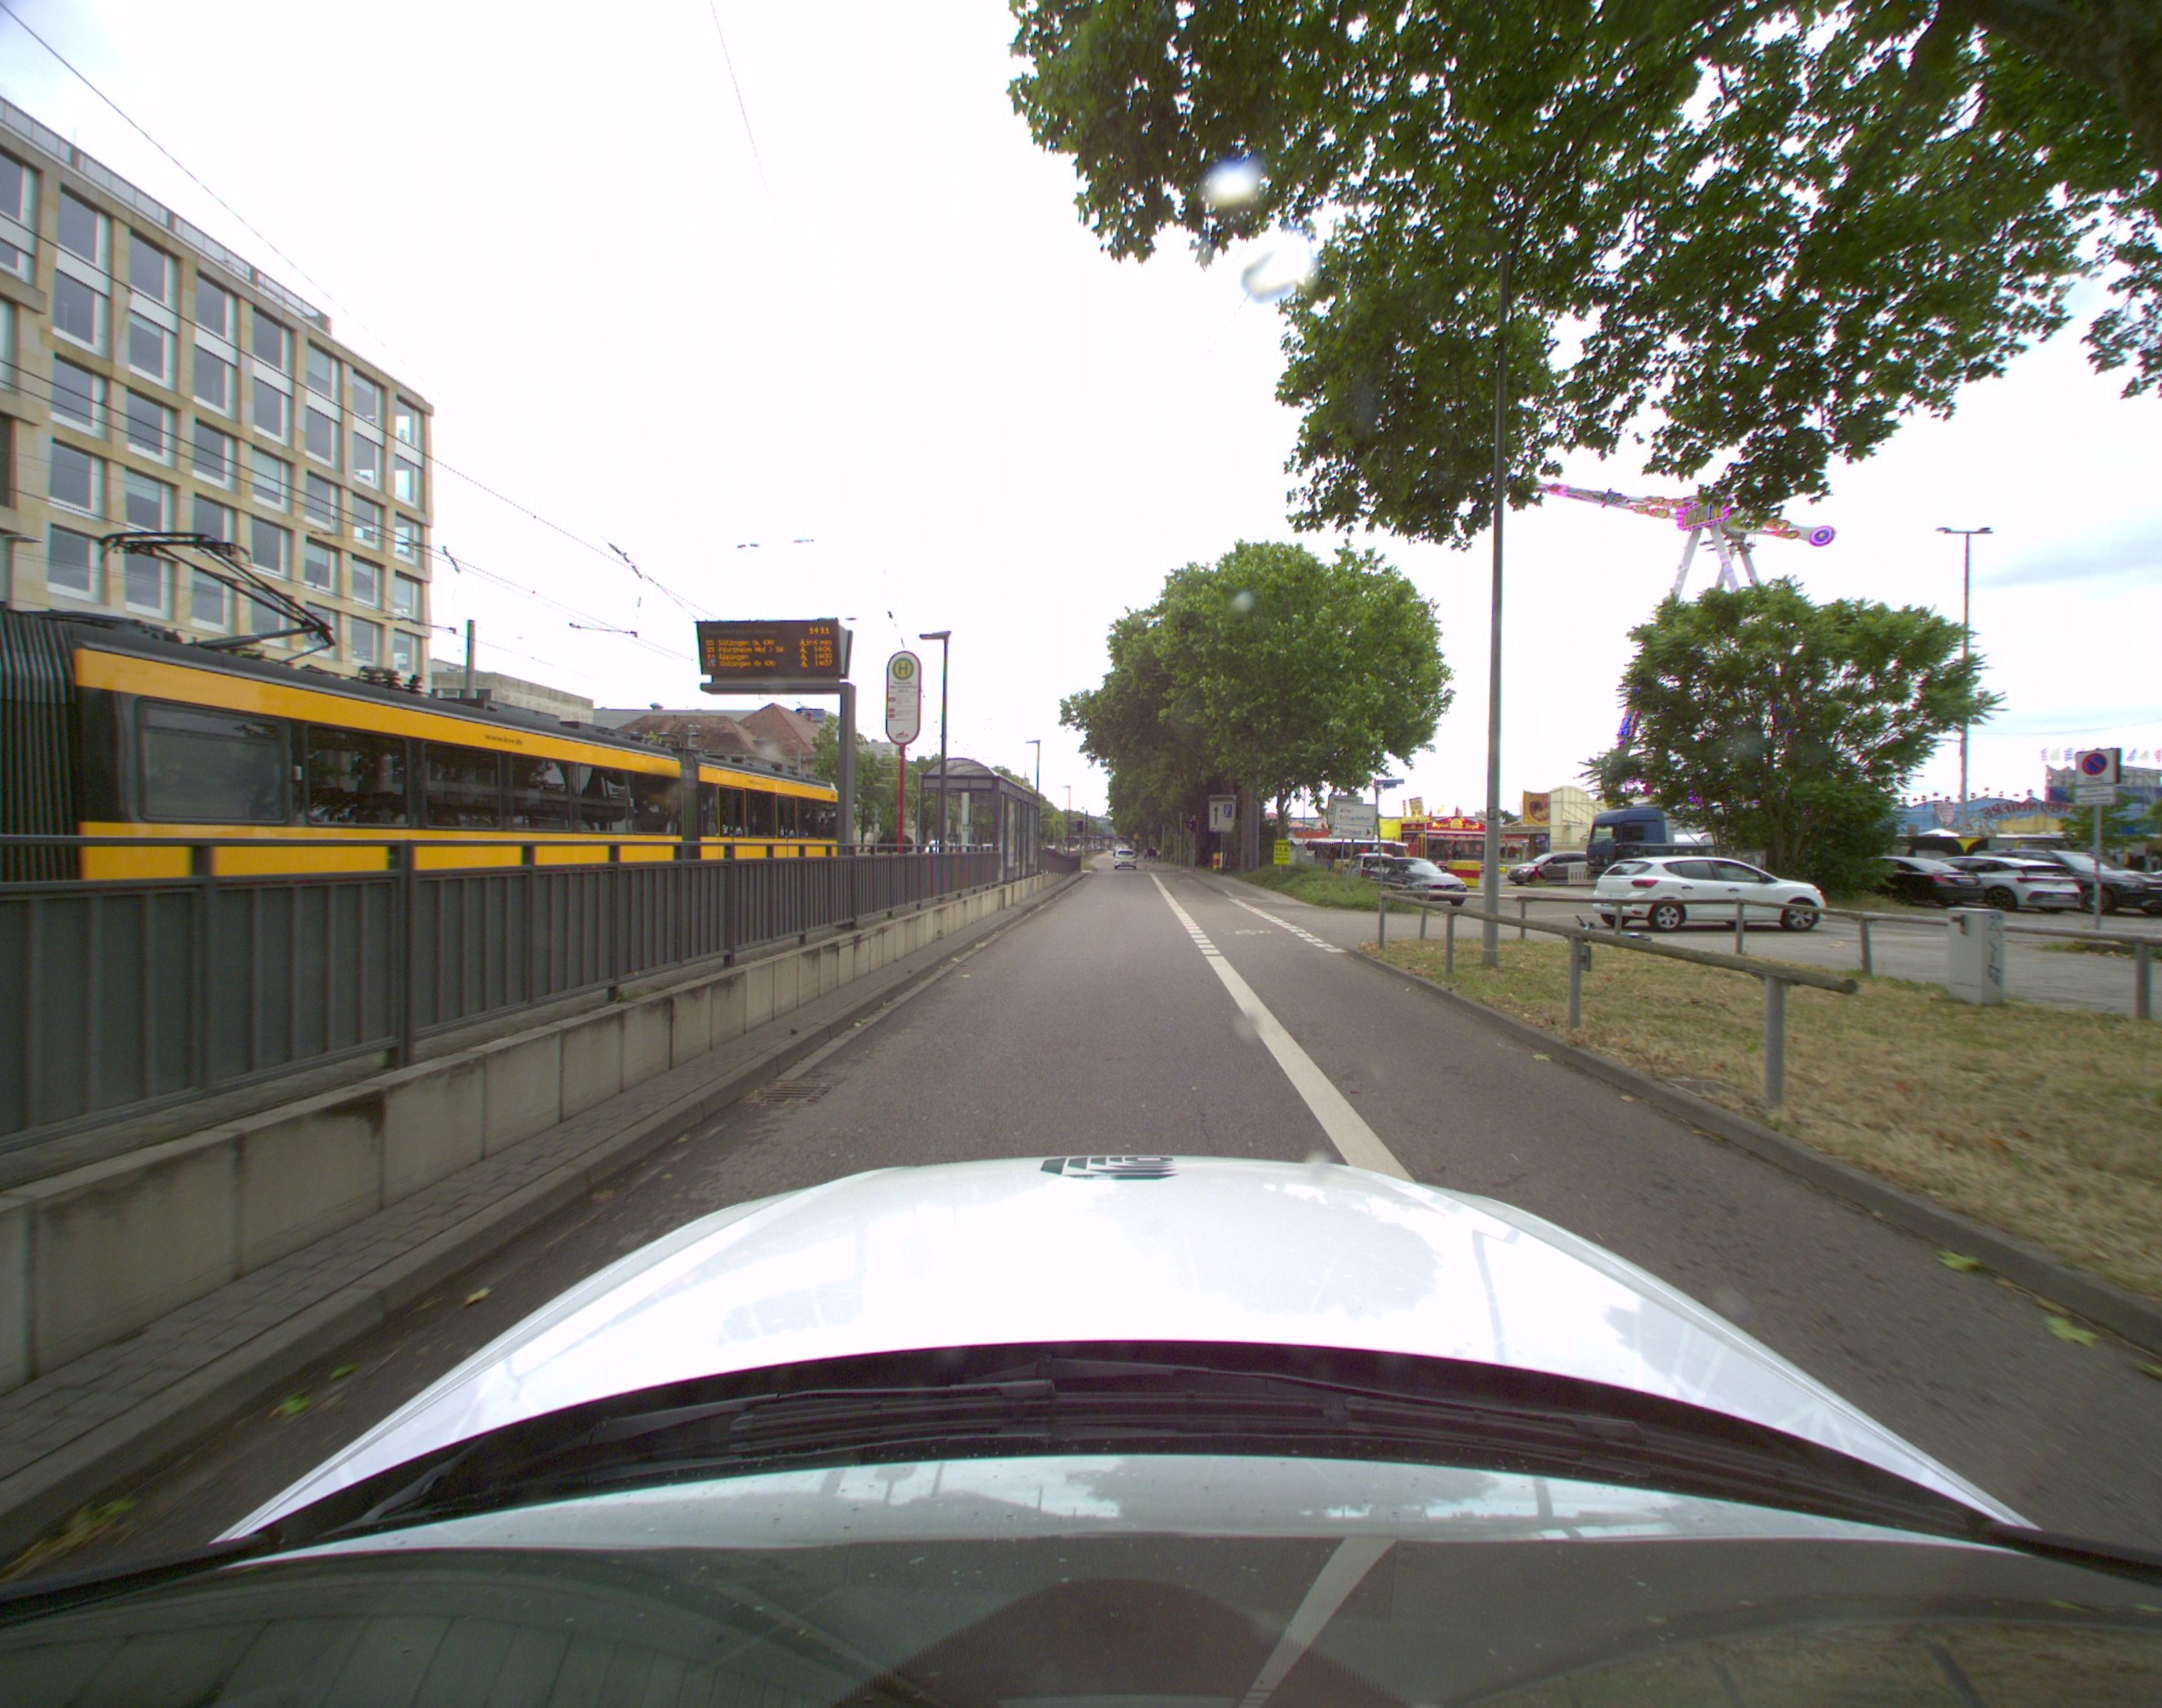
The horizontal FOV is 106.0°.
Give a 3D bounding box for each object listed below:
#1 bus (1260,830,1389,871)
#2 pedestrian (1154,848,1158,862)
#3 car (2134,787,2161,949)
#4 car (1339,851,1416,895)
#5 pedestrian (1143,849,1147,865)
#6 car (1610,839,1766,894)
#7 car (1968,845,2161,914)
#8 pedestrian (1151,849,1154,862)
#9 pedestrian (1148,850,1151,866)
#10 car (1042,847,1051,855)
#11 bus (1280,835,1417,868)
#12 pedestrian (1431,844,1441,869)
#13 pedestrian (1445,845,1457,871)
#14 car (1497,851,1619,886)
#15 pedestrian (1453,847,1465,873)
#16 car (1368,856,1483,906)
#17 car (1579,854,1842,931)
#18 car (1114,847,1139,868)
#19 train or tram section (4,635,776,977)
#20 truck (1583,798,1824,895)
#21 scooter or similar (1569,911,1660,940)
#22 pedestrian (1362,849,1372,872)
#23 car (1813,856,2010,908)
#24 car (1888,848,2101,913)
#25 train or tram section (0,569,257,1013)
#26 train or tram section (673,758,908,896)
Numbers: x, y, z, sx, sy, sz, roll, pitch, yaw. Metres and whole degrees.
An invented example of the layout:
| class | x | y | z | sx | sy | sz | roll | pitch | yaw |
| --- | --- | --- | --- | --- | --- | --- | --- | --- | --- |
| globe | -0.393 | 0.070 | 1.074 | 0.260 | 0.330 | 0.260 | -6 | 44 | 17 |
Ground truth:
| class | x | y | z | sx | sy | sz | roll | pitch | yaw |
| --- | --- | --- | --- | --- | --- | --- | --- | --- | --- |
| bus | 18.481 | -0.270 | 62.158 | 9.246 | 2.960 | 2.000 | 1 | 0 | 0 |
| pedestrian | 8.573 | 0.088 | 92.718 | 0.393 | 1.585 | 0.539 | 1 | 0 | 8 |
| car | 20.058 | 0.249 | 12.133 | 6.001 | 2.555 | 2.100 | 1 | 0 | 1 |
| car | 11.508 | 0.711 | 31.894 | 1.854 | 1.594 | 4.006 | 1 | 0 | 5 |
| pedestrian | 8.092 | 0.423 | 103.357 | 0.392 | 2.014 | 0.404 | 0 | 0 | 18 |
| car | 23.316 | 0.438 | 31.429 | 4.557 | 2.013 | 2.001 | 0 | 1 | 1 |
| car | 29.606 | 0.687 | 24.339 | 1.878 | 1.879 | 4.002 | 1 | 1 | 1 |
| pedestrian | 8.137 | 0.130 | 92.736 | 0.393 | 1.444 | 0.564 | 1 | 0 | 8 |
| pedestrian | 8.687 | 0.453 | 103.264 | 0.392 | 2.014 | 0.404 | 0 | 0 | 18 |
| car | -8.051 | -0.702 | 192.640 | 1.987 | 1.794 | 3.999 | 1 | 0 | -1 |
| bus | 19.272 | -0.192 | 58.959 | 9.246 | 2.227 | 2.000 | 1 | 0 | 0 |
| pedestrian | 25.070 | 0.177 | 57.556 | 0.491 | 1.687 | 0.523 | 1 | 0 | 0 |
| pedestrian | 24.584 | 0.276 | 54.140 | 0.522 | 1.687 | 0.492 | 1 | 0 | -14 |
| car | 22.345 | 0.676 | 38.260 | 4.556 | 1.575 | 2.001 | 1 | 0 | 1 |
| pedestrian | 25.391 | 0.396 | 54.733 | 0.522 | 1.687 | 0.492 | 1 | 0 | -14 |
| car | 10.695 | 0.783 | 25.599 | 1.858 | 1.430 | 3.998 | 1 | 0 | -1 |
| car | 12.797 | 0.750 | 16.751 | 3.973 | 1.453 | 1.892 | 1 | 0 | 1 |
| car | 3.429 | 0.252 | 60.997 | 1.832 | 1.552 | 4.005 | 0 | 0 | 4 |
| train or tram section | -11.250 | -0.598 | 17.345 | 3.167 | 4.179 | 14.746 | 1 | 0 | 3 |
| truck | 26.074 | -0.308 | 34.371 | 8.160 | 3.822 | 2.601 | 1 | 0 | 1 |
| scooter or similar | 9.152 | 1.224 | 14.040 | 1.166 | 0.349 | 1.339 | -1 | 0 | 27 |
| pedestrian | 18.433 | 0.430 | 52.461 | 0.491 | 1.463 | 0.523 | 1 | 0 | 0 |
| car | 24.768 | 0.780 | 24.533 | 1.879 | 1.349 | 4.001 | 3 | 0 | 1 |
| car | 27.038 | 0.714 | 24.345 | 1.879 | 1.644 | 4.002 | 1 | 2 | 1 |
| train or tram section | -12.046 | -0.612 | 2.591 | 3.167 | 4.179 | 14.746 | 1 | 0 | 3 |
| train or tram section | -10.384 | -0.812 | 32.099 | 3.167 | 4.179 | 14.746 | 1 | 0 | 3 |
